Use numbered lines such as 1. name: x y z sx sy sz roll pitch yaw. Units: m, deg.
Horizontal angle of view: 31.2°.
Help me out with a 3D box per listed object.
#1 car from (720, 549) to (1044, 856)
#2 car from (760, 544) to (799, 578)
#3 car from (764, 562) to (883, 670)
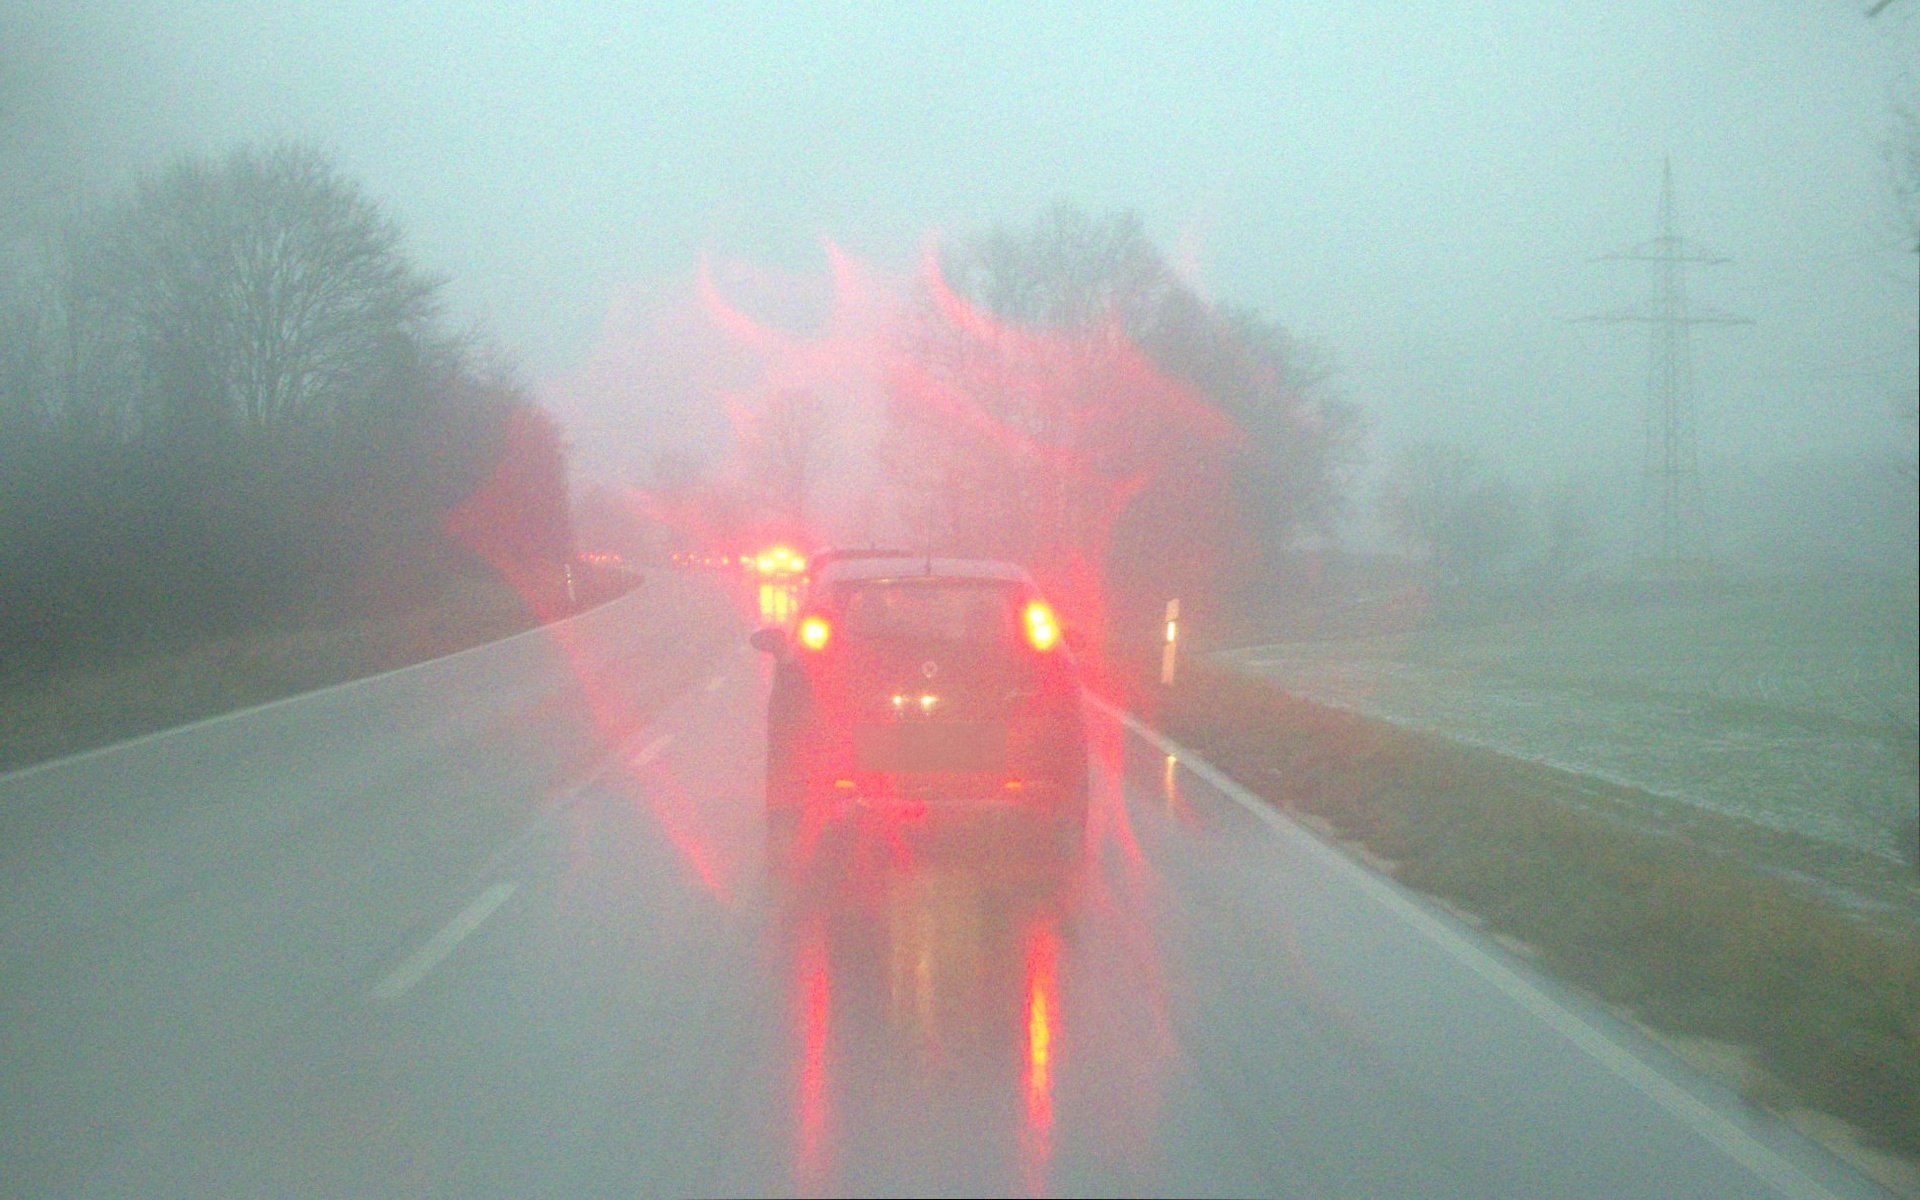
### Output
1. car: -0.409 0.490 19.171 1.602 1.517 3.869 1 1 -1
2. car: -7.439 -1.611 142.089 1.547 1.392 3.870 1 1 -2
3. car: -1.897 0.189 47.034 1.546 1.392 3.870 1 1 -3
